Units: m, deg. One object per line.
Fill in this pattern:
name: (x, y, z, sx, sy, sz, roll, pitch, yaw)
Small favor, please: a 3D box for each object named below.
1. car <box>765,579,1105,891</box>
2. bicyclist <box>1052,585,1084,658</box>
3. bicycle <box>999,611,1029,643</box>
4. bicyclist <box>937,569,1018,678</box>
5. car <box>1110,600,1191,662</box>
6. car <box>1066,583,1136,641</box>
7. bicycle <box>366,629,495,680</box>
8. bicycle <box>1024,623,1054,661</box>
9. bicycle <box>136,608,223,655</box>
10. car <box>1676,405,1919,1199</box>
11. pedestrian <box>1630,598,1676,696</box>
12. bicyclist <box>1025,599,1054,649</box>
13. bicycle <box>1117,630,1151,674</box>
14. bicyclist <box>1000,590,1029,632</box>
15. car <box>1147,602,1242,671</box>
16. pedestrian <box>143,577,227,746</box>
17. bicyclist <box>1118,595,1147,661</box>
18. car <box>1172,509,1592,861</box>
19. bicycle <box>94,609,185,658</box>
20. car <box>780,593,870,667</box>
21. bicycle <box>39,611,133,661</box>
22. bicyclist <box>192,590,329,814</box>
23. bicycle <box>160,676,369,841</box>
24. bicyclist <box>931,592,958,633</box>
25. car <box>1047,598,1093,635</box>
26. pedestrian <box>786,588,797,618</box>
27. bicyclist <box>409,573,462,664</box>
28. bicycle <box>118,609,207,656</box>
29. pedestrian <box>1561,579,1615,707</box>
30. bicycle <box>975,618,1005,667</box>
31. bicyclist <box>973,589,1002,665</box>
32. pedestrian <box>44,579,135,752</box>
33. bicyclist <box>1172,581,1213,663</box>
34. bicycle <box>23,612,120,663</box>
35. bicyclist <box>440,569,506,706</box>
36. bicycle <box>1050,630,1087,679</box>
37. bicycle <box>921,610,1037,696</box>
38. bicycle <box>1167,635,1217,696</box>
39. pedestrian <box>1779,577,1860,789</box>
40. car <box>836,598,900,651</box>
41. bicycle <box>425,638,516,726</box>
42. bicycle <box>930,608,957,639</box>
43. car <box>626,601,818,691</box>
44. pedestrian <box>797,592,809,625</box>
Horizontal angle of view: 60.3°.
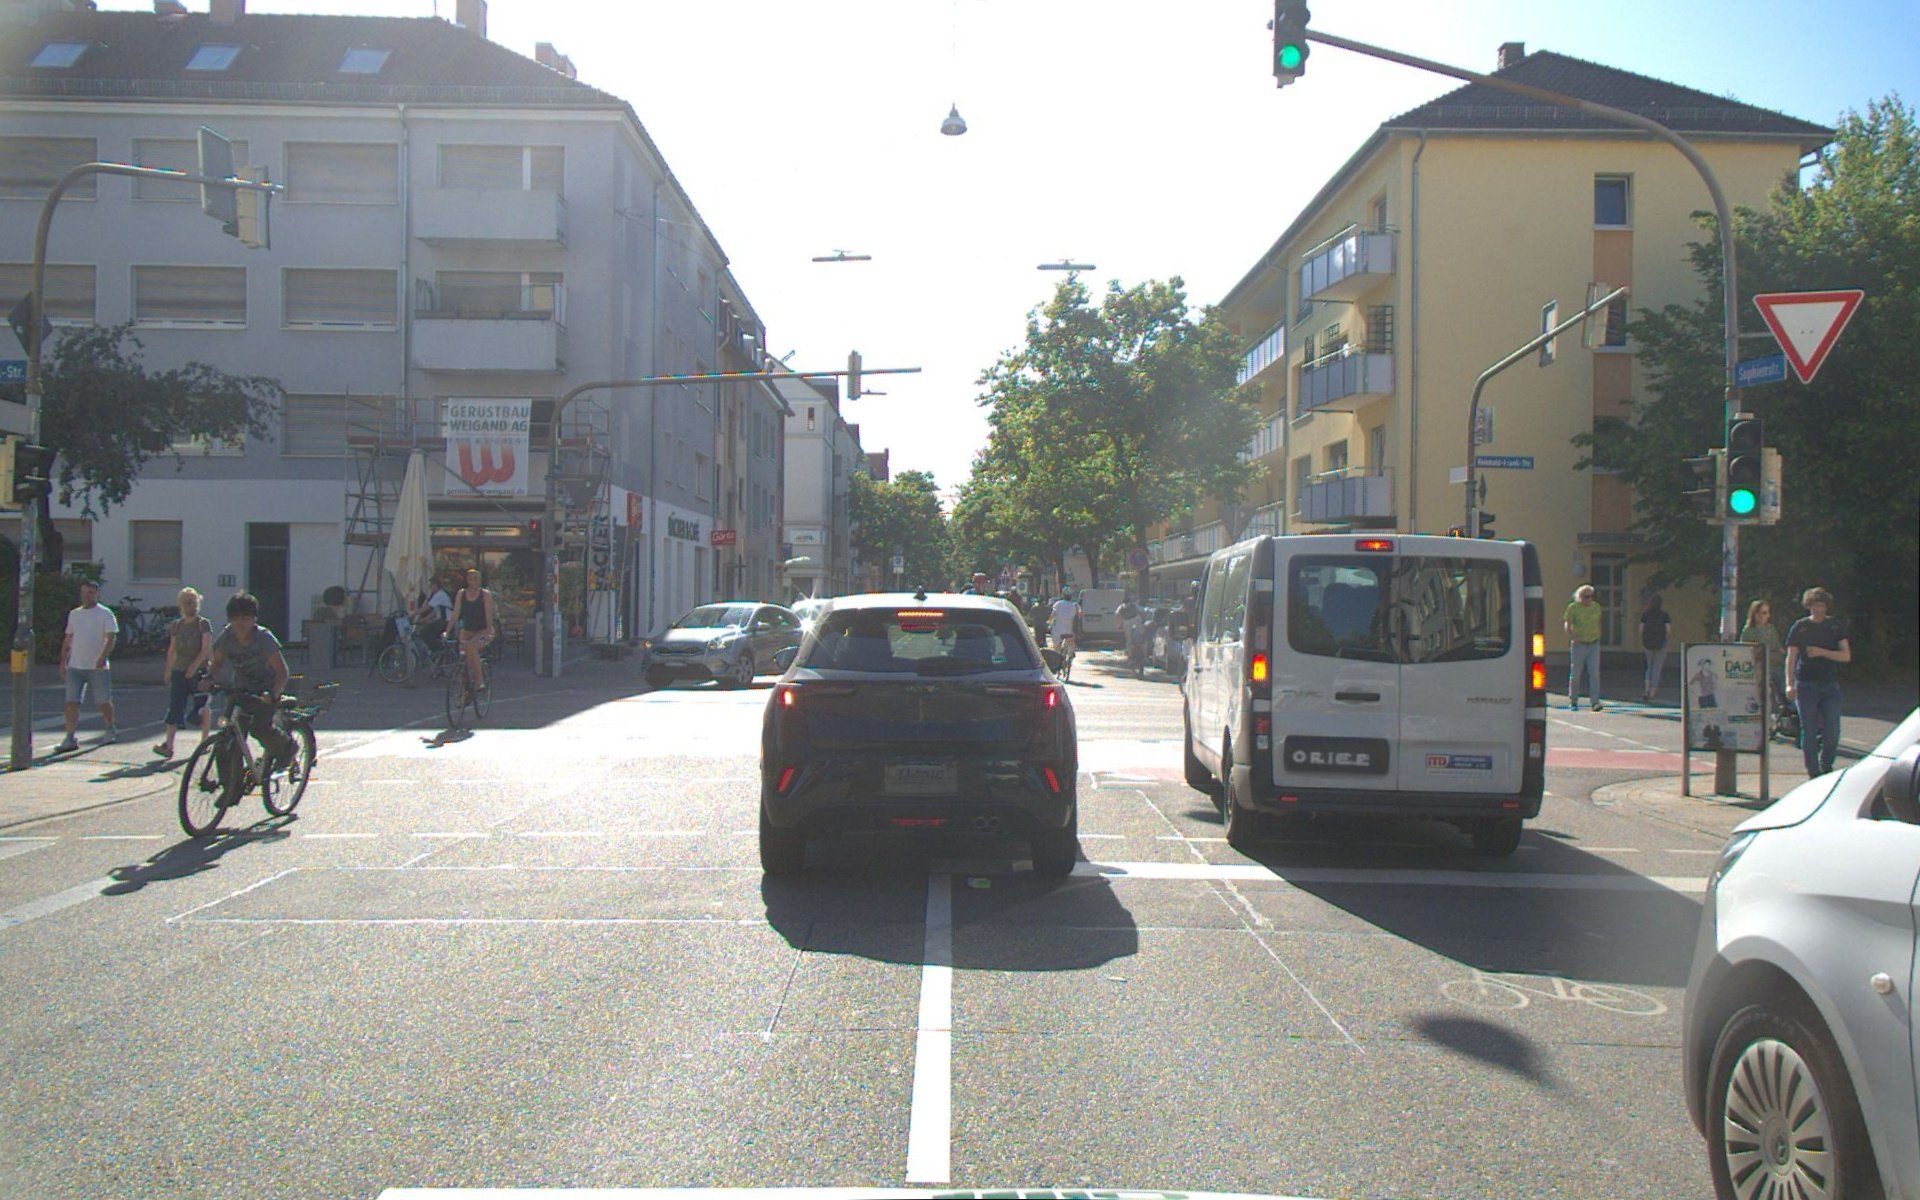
car: (-0.156, 0.697, 10.466, 1.726, 1.586, 3.999, 0, 0, -1)
bicyclist: (2.096, 0.407, 32.171, 0.576, 1.406, 0.823, 0, 0, 0)
bicycle: (1.786, 0.888, 54.912, 0.839, 0.961, 2.307, 3, 0, -1)
bicyclist: (0.277, 0.362, 26.087, 0.794, 1.678, 1.112, 0, 0, -34)
car: (4.879, 0.776, 42.703, 1.677, 1.509, 3.380, 0, 0, 0)
car: (4.779, 0.377, 56.612, 2.004, 1.879, 4.584, 0, 0, 0)
bicycle: (-9.233, 0.958, 28.905, 2.087, 0.848, 0.553, 1, 0, -12)
bicycle: (1.938, 1.021, 40.841, 0.677, 0.881, 1.876, 0, 0, 0)
bicycle: (-16.240, 0.649, 34.427, 1.556, 0.956, 0.512, 0, 0, 1)
car: (2.859, 0.548, 1.810, 1.928, 1.842, 4.831, 0, 0, -2)
pedestrian: (11.345, 0.760, 27.077, 0.528, 1.598, 0.539, 0, 0, -1)
bicyclist: (1.948, 0.593, 40.764, 0.678, 1.214, 0.595, 0, 0, 0)
bicycle: (3.719, 1.100, 35.474, 0.535, 0.881, 1.876, 0, 0, 0)
bicyclist: (1.808, 0.366, 54.831, 0.839, 1.337, 1.210, 3, 0, -1)
car: (5.371, 0.810, 38.217, 1.677, 1.509, 3.480, 0, 0, 0)
pedestrian: (-7.525, 0.588, 16.074, 0.520, 1.609, 0.563, 0, 0, 2)
bicyclist: (3.714, 0.590, 35.620, 0.535, 1.406, 0.823, 0, 0, 0)
car: (2.766, 0.503, 12.110, 1.927, 1.974, 5.057, 2, 0, 2)
bicycle: (-16.348, 0.658, 32.981, 1.556, 0.956, 0.512, 0, 0, 1)
car: (-3.039, 0.661, 37.923, 1.559, 1.593, 4.090, 0, -1, 2)
bicycle: (-16.920, 0.699, 32.039, 1.556, 0.956, 0.512, 0, 0, 1)
bicyclist: (-4.589, 0.644, 10.887, 0.531, 1.415, 0.789, 0, 0, 3)
bicycle: (-4.583, 1.010, 11.038, 0.531, 0.918, 1.827, 0, 0, 3)
bicyclist: (-0.535, 0.411, 55.947, 0.839, 1.337, 1.210, 3, 0, -1)
car: (4.604, 0.668, 69.379, 1.677, 1.509, 3.380, 0, 0, 0)
pedestrian: (-8.247, 0.148, 80.975, 0.566, 1.493, 0.702, 0, 0, -6)
bicyclist: (-9.164, 0.323, 28.921, 0.797, 1.576, 0.553, 1, 0, -11)
bicycle: (-16.288, 0.664, 33.794, 1.556, 0.956, 0.512, 0, 0, 1)
pedestrian: (8.952, 0.605, 23.577, 0.515, 1.792, 0.623, 0, 0, -3)
bicycle: (0.671, 0.966, 37.845, 0.619, 1.059, 1.795, 0, 0, -1)
bicyclist: (0.625, 0.598, 37.692, 0.619, 1.698, 1.050, 0, 0, -1)
pedestrian: (-8.835, 0.656, 16.800, 0.561, 1.718, 0.669, 0, 0, -1)
bicyclist: (3.703, 0.345, 26.365, 0.535, 1.284, 0.803, 0, 0, 0)
bicycle: (-16.879, 0.701, 31.437, 1.556, 0.956, 0.512, 0, 0, 1)
bicyclist: (-5.623, 0.424, 19.139, 0.531, 1.547, 0.774, 0, 0, -1)
bicycle: (2.094, 1.038, 32.180, 0.607, 0.881, 1.876, 0, 0, 0)
bicycle: (0.274, 0.814, 26.084, 0.794, 1.277, 2.114, 0, 0, -34)
bicycle: (3.704, 1.034, 26.507, 0.535, 0.881, 1.876, 0, 0, 0)
pedestrian: (7.743, 0.726, 14.923, 0.591, 1.854, 0.628, 0, 0, 23)
car: (-2.726, 0.689, 48.719, 1.769, 1.437, 4.423, -1, 0, -3)
bicycle: (-5.638, 0.927, 19.132, 0.531, 0.918, 1.826, 0, 0, -1)
bicycle: (-0.554, 0.783, 55.702, 0.839, 0.961, 2.307, 3, 0, -1)
car: (-4.096, 0.753, 29.182, 1.798, 1.459, 4.179, 0, 0, 16)
pedestrian: (-7.691, 0.399, 81.172, 0.566, 1.610, 0.707, 0, 0, -6)
